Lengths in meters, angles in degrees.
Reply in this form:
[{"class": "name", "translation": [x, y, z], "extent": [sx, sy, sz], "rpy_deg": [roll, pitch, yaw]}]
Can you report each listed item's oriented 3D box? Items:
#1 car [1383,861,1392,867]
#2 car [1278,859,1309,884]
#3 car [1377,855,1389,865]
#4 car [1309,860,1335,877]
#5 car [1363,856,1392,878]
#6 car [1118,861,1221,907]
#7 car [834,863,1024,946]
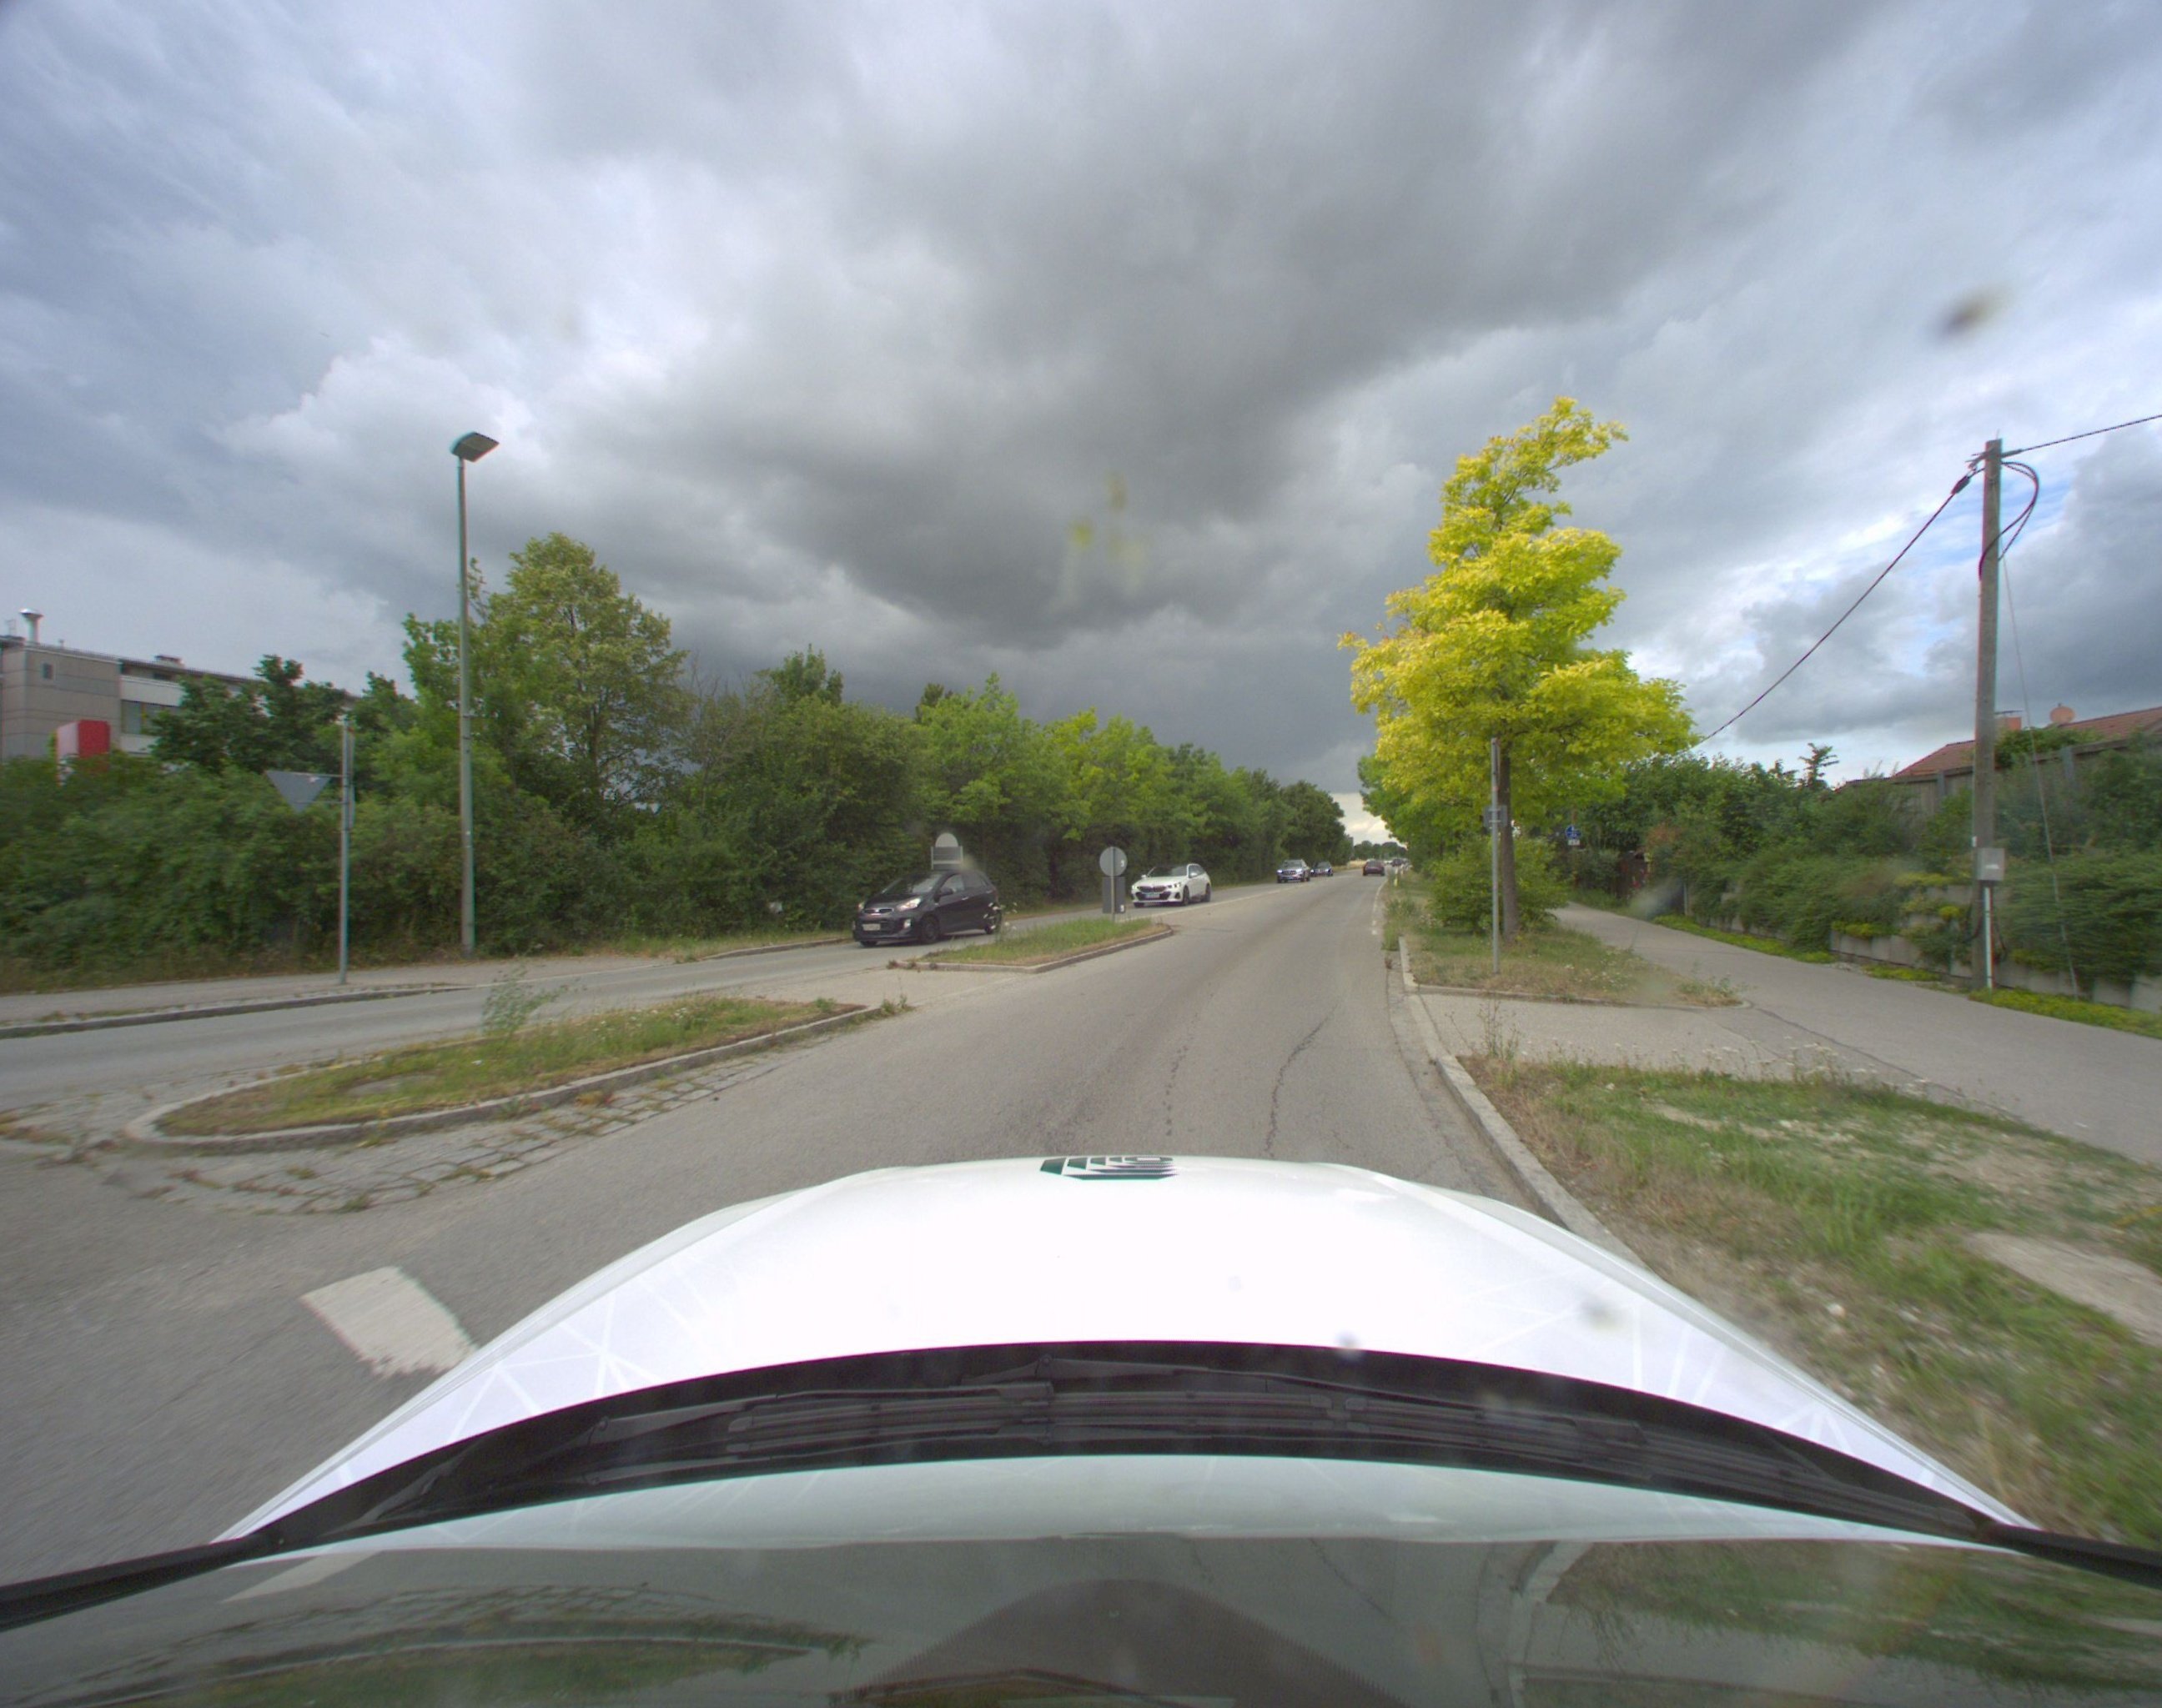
[{"class": "car", "translation": [85.063, 2.751, 225.915], "extent": [1.976, 1.684, 4.835], "rpy_deg": [-2, -1, 23]}, {"class": "car", "translation": [15.370, 1.275, 58.717], "extent": [1.978, 1.601, 4.684], "rpy_deg": [-3, -2, 16]}, {"class": "car", "translation": [57.038, 1.156, 153.724], "extent": [1.924, 1.586, 4.579], "rpy_deg": [-3, -2, 21]}, {"class": "car", "translation": [22.646, 1.348, 76.433], "extent": [1.976, 1.419, 4.500], "rpy_deg": [-3, -2, 21]}, {"class": "car", "translation": [27.367, 1.178, 75.139], "extent": [2.351, 1.881, 4.500], "rpy_deg": [-3, -2, 21]}, {"class": "car", "translation": [3.364, 1.040, 29.892], "extent": [2.193, 1.454, 4.971], "rpy_deg": [-3, -1, 25]}, {"class": "car", "translation": [-2.997, 0.978, 16.878], "extent": [1.666, 1.454, 4.024], "rpy_deg": [-4, -2, 28]}]
